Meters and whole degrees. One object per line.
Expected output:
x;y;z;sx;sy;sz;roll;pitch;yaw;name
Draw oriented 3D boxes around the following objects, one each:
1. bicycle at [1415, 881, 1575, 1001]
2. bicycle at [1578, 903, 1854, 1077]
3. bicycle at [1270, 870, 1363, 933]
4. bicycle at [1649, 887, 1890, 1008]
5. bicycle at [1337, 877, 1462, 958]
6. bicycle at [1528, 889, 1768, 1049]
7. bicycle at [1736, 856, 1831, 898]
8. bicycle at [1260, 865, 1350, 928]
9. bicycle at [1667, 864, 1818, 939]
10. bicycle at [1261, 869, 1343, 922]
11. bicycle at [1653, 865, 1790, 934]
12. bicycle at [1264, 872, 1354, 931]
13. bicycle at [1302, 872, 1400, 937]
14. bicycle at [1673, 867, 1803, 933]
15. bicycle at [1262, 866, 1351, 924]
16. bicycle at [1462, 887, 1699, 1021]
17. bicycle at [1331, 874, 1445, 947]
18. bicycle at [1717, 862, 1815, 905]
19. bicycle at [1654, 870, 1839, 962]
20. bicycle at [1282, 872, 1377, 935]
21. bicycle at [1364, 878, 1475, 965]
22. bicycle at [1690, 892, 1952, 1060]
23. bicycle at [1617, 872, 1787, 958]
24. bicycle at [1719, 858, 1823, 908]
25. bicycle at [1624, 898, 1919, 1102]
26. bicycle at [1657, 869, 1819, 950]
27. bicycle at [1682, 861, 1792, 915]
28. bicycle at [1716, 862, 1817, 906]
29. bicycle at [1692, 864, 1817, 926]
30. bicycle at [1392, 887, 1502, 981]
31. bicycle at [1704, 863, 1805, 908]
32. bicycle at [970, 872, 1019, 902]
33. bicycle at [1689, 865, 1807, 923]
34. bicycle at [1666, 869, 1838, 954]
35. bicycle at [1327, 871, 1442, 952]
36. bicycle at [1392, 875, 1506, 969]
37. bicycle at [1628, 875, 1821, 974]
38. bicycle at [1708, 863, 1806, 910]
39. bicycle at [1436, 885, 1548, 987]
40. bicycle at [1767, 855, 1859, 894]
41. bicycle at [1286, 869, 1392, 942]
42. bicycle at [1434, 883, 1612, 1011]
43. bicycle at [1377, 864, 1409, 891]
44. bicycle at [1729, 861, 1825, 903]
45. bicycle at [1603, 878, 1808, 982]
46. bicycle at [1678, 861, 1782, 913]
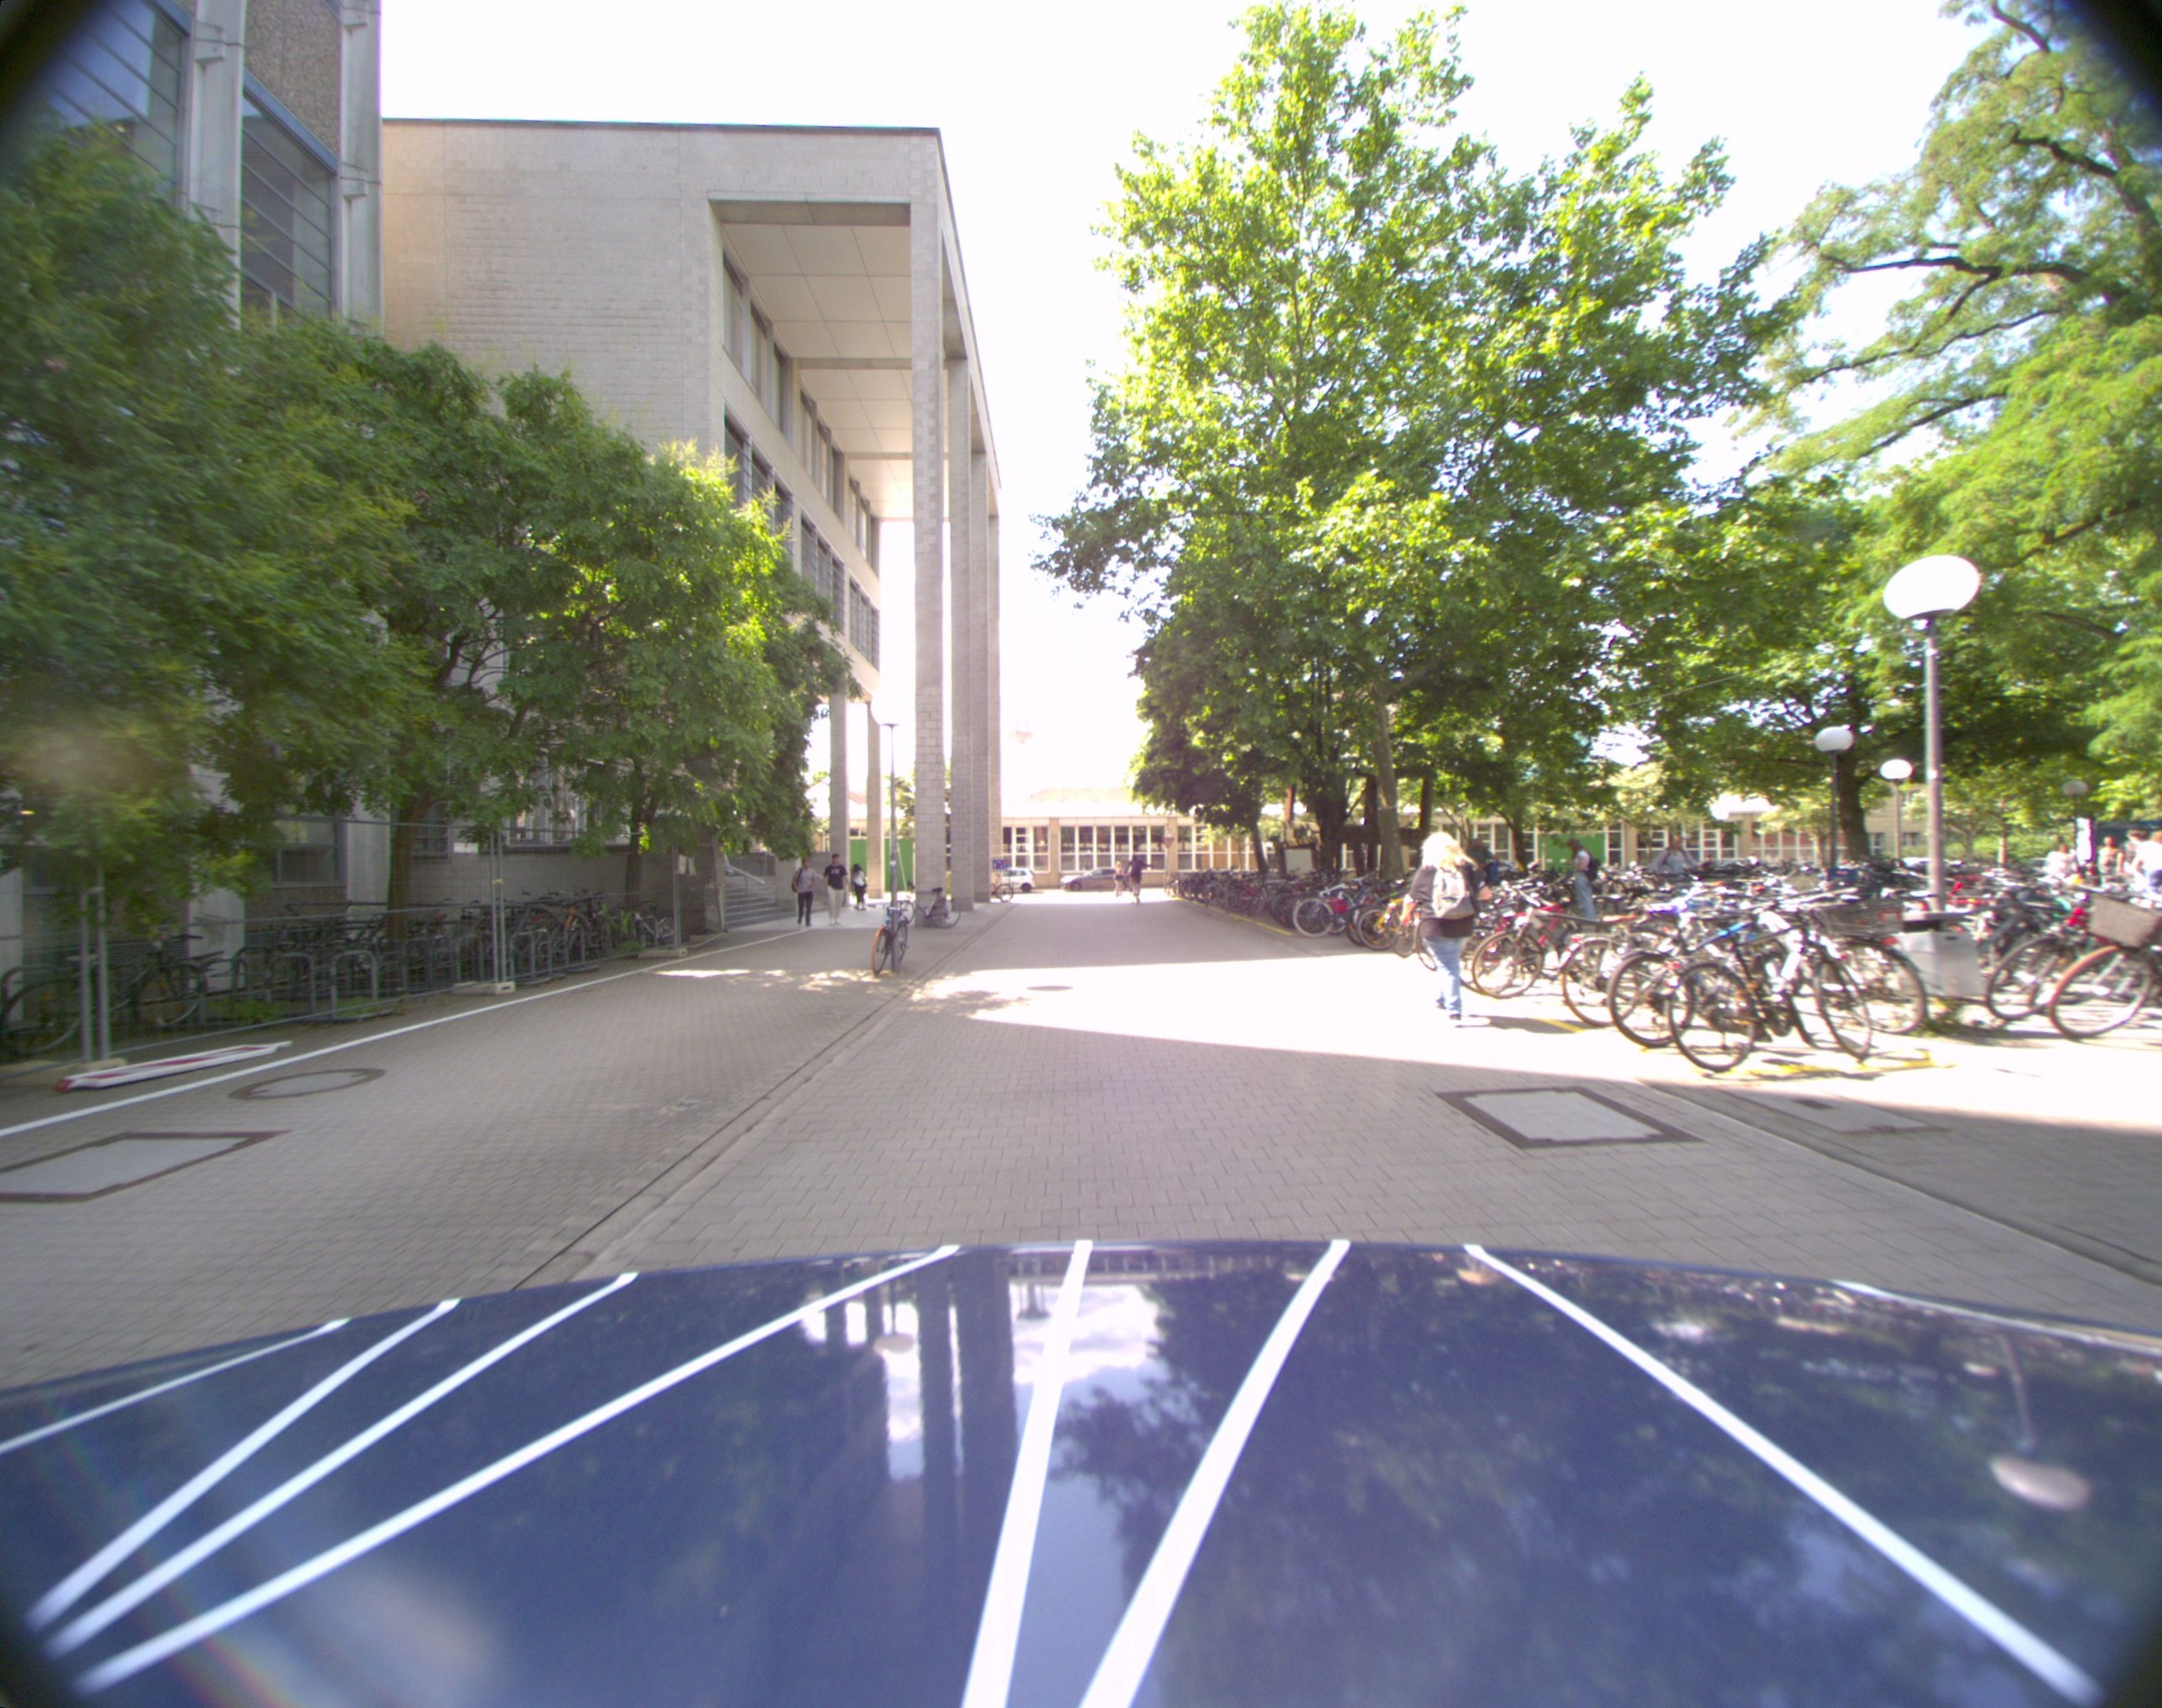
4.560;0.919;8.355;1.701;1.161;0.473;-2;0;-18;bicycle
4.561;0.945;5.489;1.699;1.085;0.474;-2;0;-7;bicycle
4.629;0.926;14.940;1.700;1.139;0.473;-2;0;-13;bicycle
6.564;0.889;7.312;1.697;1.077;0.474;-2;0;12;bicycle
4.855;0.947;11.602;1.700;1.101;0.582;-2;0;-12;bicycle
4.643;0.912;6.251;1.699;1.161;0.474;-2;0;-7;bicycle
19.357;0.630;20.971;0.475;1.077;1.854;-2;0;-38;bicycle
4.697;0.867;15.945;1.740;1.228;0.496;-2;0;-8;bicycle
10.122;0.722;11.709;1.695;1.077;0.475;-2;0;35;bicycle
5.000;0.926;17.202;1.741;1.101;0.496;-2;0;-13;bicycle
10.639;0.753;12.700;1.695;1.077;0.475;-2;0;35;bicycle
4.639;0.944;15.465;1.700;1.101;0.496;-2;0;-11;bicycle
5.014;0.926;14.115;1.700;1.101;0.473;-2;0;-12;bicycle
11.508;0.786;13.350;1.695;1.077;0.475;-2;0;44;bicycle
4.886;0.878;16.509;1.739;1.172;0.497;-2;0;-2;bicycle
4.607;0.917;7.103;1.778;1.161;0.474;-2;0;12;bicycle
5.119;0.926;12.687;1.700;1.101;0.565;-2;0;-12;bicycle
18.185;0.776;20.208;0.475;1.077;1.854;-2;0;-38;bicycle
8.375;0.765;9.647;1.695;1.077;0.475;-2;0;30;bicycle
4.738;0.933;14.484;1.700;1.101;0.473;-2;0;-13;bicycle
4.864;0.927;10.871;1.702;1.101;0.473;-2;0;-28;bicycle
5.881;0.902;6.186;0.508;1.077;1.700;-2;0;2;bicycle
8.315;0.801;10.259;1.695;1.077;0.475;-2;0;30;bicycle
15.807;0.658;17.434;0.475;1.077;1.695;-2;0;-38;bicycle
4.543;0.917;5.019;1.700;1.152;0.474;-2;0;-9;bicycle
9.311;0.768;10.848;1.695;1.077;0.475;-2;0;35;bicycle
13.913;0.704;16.151;0.475;1.077;1.695;-2;0;-38;bicycle
17.706;0.766;19.665;0.475;1.077;1.854;-2;0;-38;bicycle
12.483;0.737;14.120;1.695;1.077;0.475;-2;0;44;bicycle
4.650;0.969;9.604;1.702;1.012;0.473;-2;0;-36;bicycle
17.184;0.792;19.425;0.475;1.077;1.854;-2;0;-38;bicycle
-3.413;1.302;30.099;1.886;1.157;0.605;1;-1;-6;bicycle
13.228;0.775;15.116;0.475;1.077;1.695;-2;0;-38;bicycle
9.113;0.768;10.403;1.695;1.077;0.475;-2;0;35;bicycle
4.837;0.894;12.130;1.700;1.180;0.473;-2;0;-12;bicycle
5.083;0.898;10.461;1.702;1.150;0.473;-2;0;-28;bicycle
7.589;0.812;9.063;1.695;1.077;0.475;-2;0;34;bicycle
16.403;0.767;18.468;0.475;1.077;1.695;-2;0;-38;bicycle
5.029;0.951;9.257;1.702;1.055;0.473;-2;0;-36;bicycle
21.155;0.601;21.995;0.475;1.077;1.854;-2;0;-38;bicycle
4.574;0.898;13.509;1.699;1.191;0.536;-2;0;-9;bicycle
4.540;0.921;7.812;1.700;1.161;0.473;-2;0;-13;bicycle
14.360;1.093;34.971;0.803;1.165;1.890;-2;-1;39;bicycle
18.918;0.758;20.679;0.475;1.077;1.854;-2;0;-38;bicycle
6.836;0.828;8.388;1.697;1.077;0.474;-2;0;13;bicycle
14.474;0.725;16.988;0.475;1.077;1.695;-2;0;-38;bicycle
